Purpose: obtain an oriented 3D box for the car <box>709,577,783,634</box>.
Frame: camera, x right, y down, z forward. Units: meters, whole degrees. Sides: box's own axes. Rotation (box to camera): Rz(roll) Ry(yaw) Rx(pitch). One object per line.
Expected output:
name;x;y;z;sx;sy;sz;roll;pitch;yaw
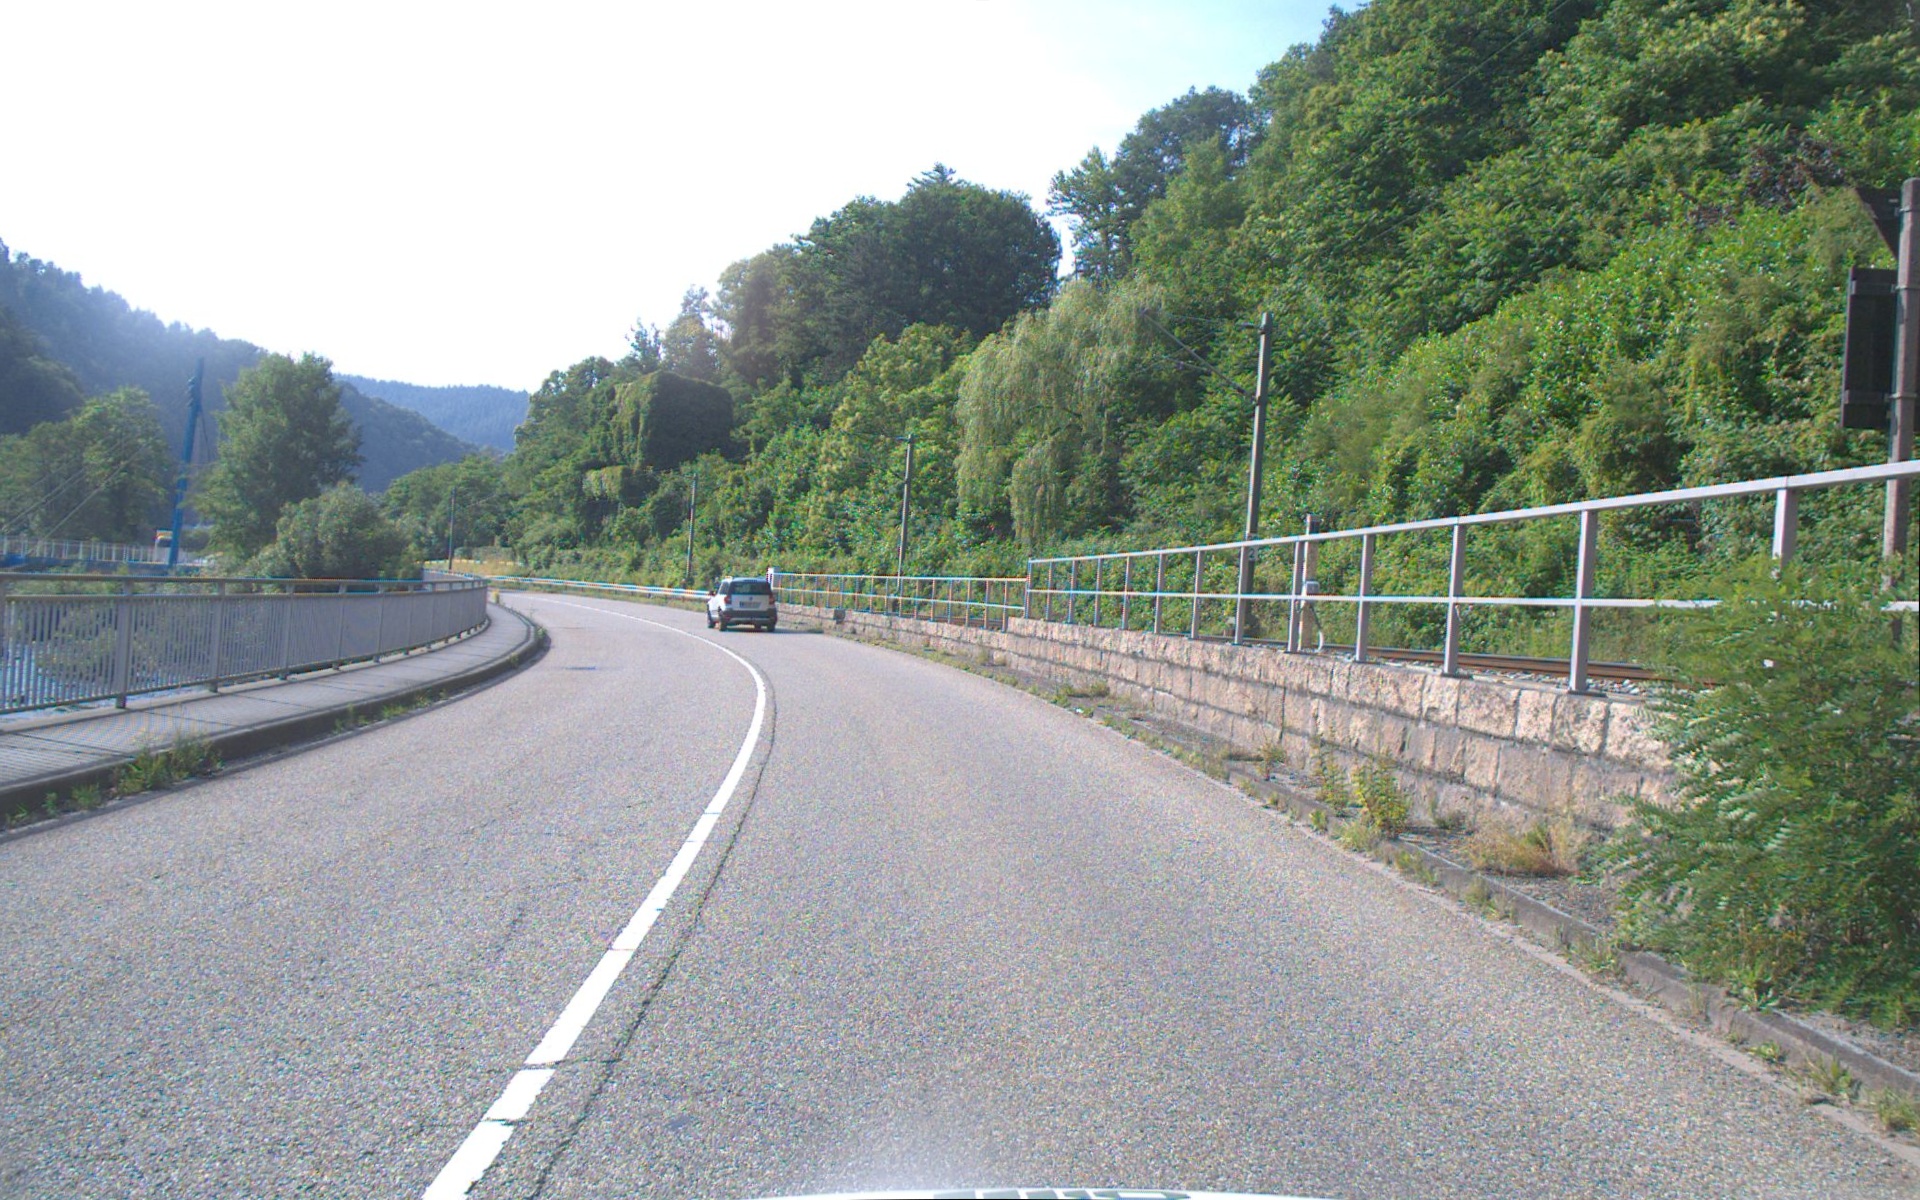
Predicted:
car;-6.812;0.157;52.311;1.841;1.685;3.985;1;0;-14
